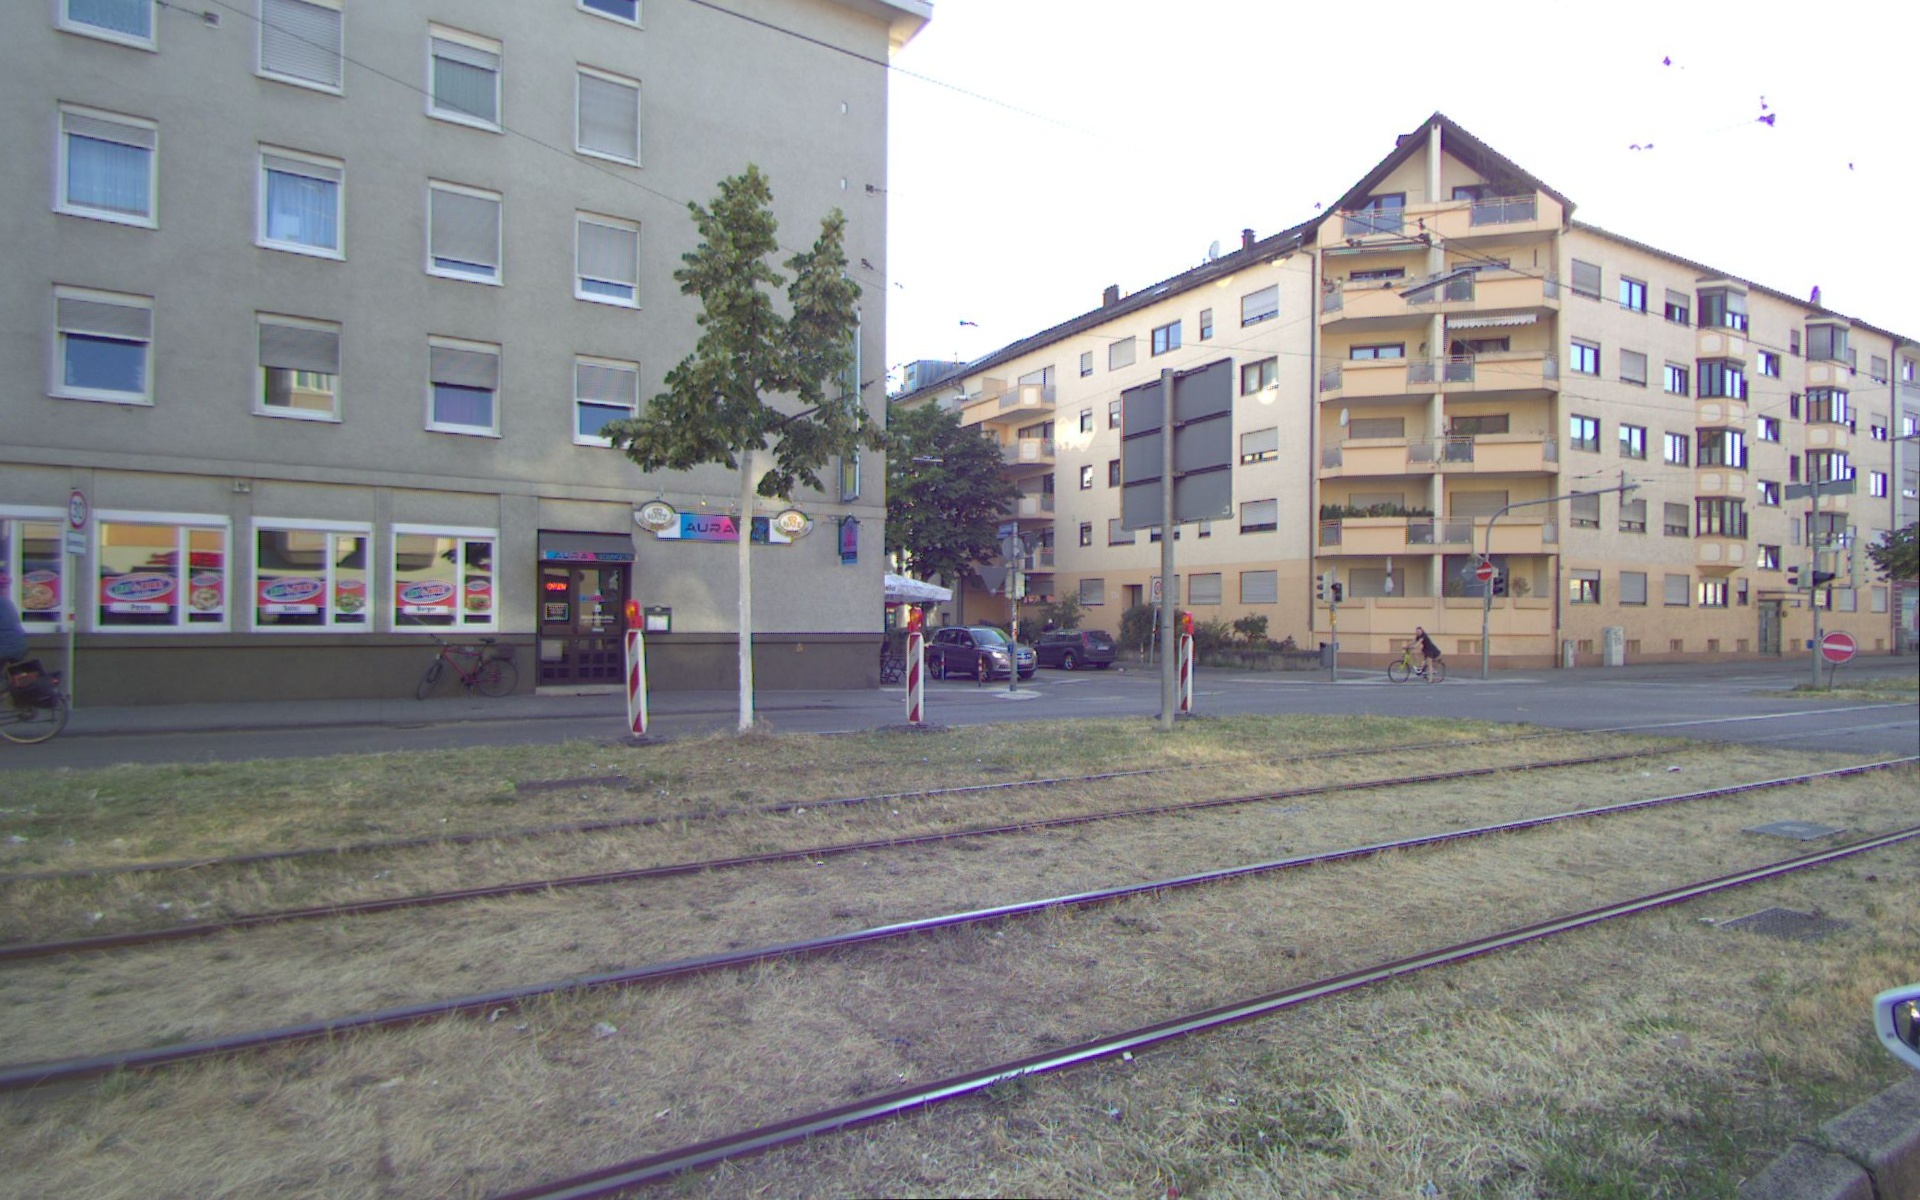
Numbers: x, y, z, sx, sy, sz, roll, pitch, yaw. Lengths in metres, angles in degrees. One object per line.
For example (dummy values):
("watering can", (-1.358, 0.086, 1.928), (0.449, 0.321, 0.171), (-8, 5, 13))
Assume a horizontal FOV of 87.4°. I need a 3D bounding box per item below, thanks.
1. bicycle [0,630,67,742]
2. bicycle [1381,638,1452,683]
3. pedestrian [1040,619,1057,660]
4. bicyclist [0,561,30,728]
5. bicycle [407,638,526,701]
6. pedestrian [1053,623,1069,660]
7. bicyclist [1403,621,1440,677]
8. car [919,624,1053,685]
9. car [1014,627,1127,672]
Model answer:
("bicycle", (-11.542, 0.992, 11.544), (1.847, 1.274, 0.453), (0, 0, -28))
("bicycle", (13.302, 1.754, 29.296), (1.833, 1.274, 0.457), (0, 0, 3))
("pedestrian", (3.827, 1.721, 43.629), (0.456, 1.727, 0.589), (2, 0, -24))
("bicyclist", (-11.436, 0.514, 11.617), (0.798, 1.907, 0.649), (1, -2, -27))
("bicycle", (-8.683, 1.206, 17.690), (1.823, 1.037, 0.605), (2, 0, -31))
("pedestrian", (4.412, 1.798, 43.944), (0.508, 1.573, 0.547), (-1, 1, -24))
("bicyclist", (13.461, 1.427, 29.304), (0.793, 1.607, 0.628), (0, 0, 4))
("car", (0.755, 1.639, 31.443), (1.982, 1.645, 4.153), (-3, 1, -38))
("car", (4.085, 1.804, 37.573), (1.982, 1.462, 3.957), (-2, 0, -38))
